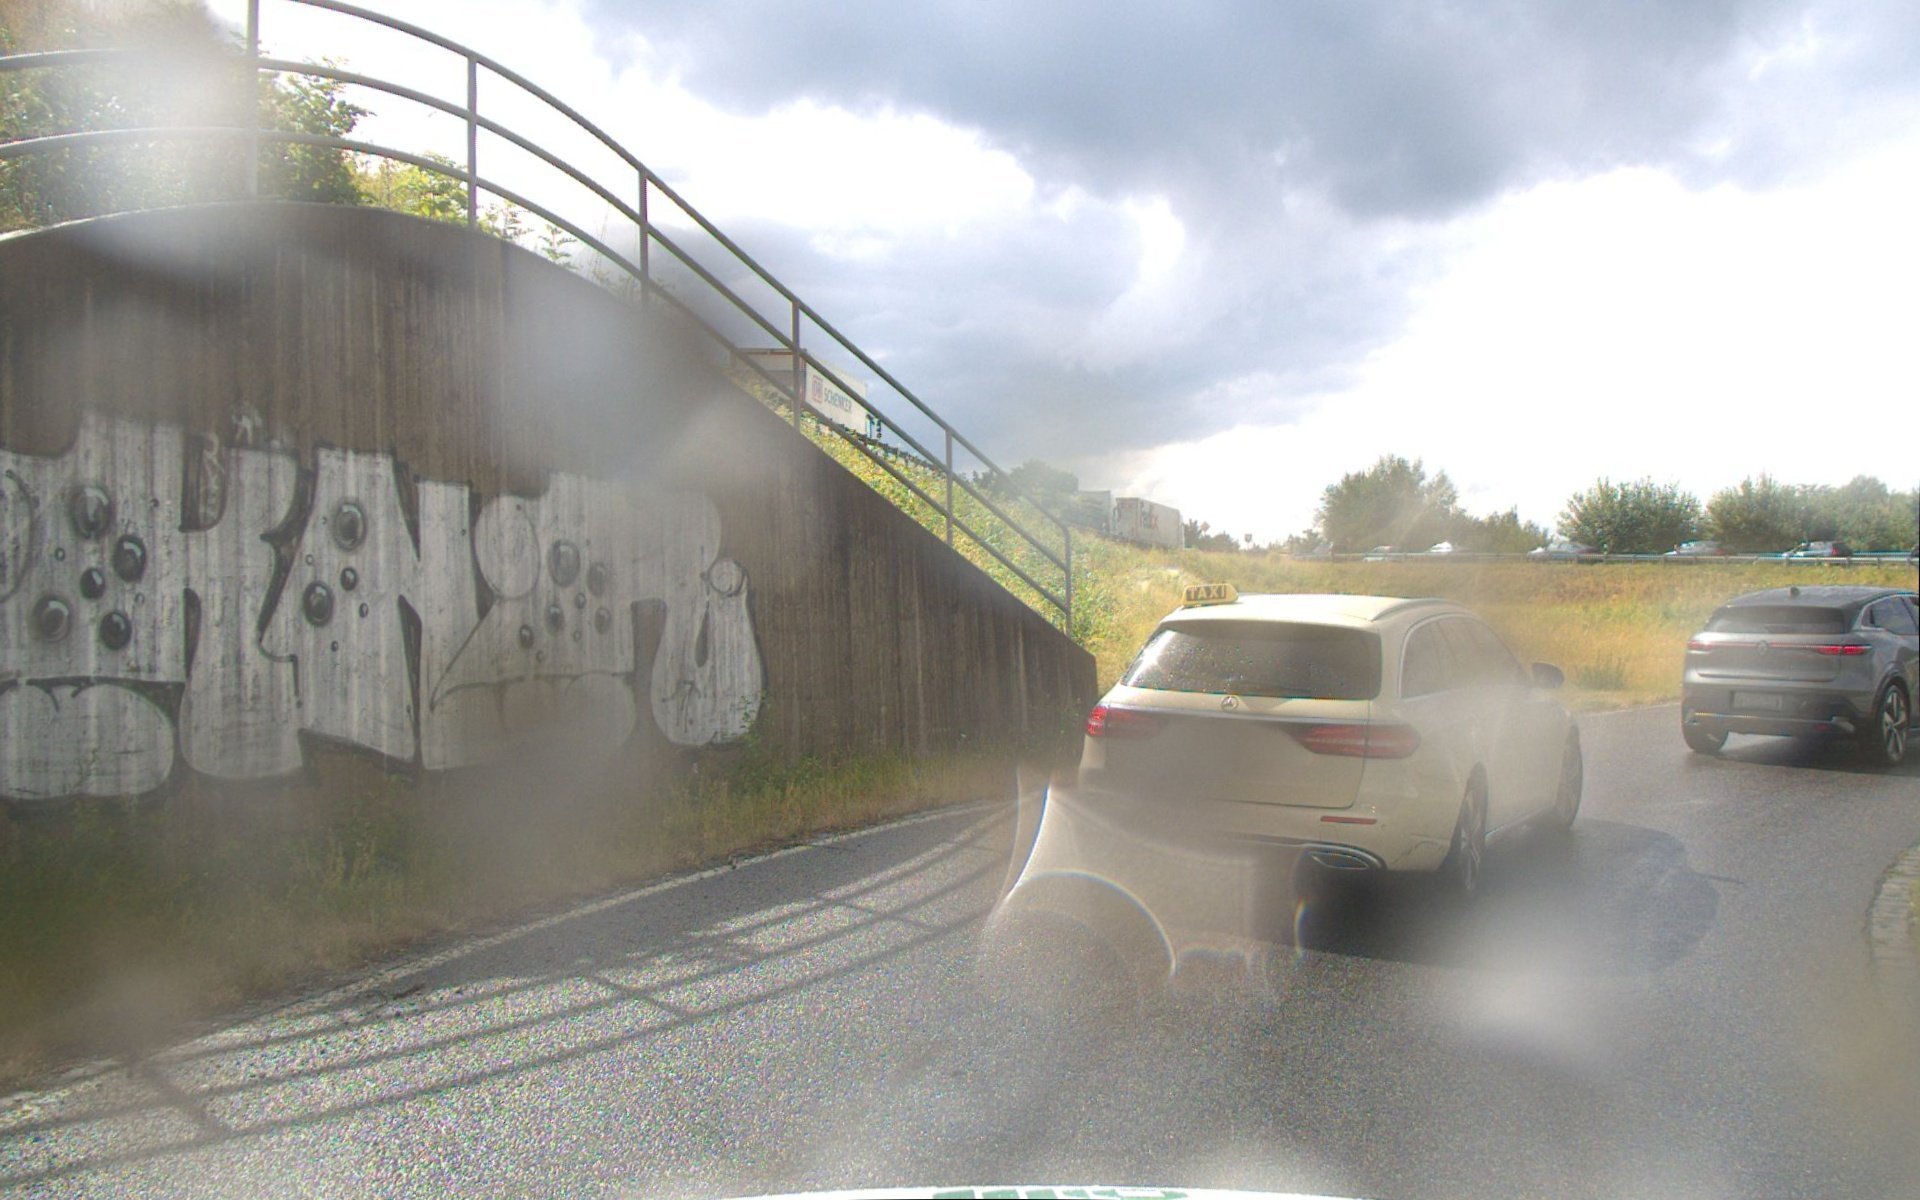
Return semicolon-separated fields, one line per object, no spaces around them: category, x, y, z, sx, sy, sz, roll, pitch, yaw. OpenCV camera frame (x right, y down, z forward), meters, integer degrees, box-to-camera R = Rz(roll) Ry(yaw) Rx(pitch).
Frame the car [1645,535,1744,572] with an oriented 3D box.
car;42.767;-2.697;96.445;1.975;1.894;4.999;0;-1;-33

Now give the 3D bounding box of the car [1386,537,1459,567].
car;32.643;-3.375;116.933;1.973;1.894;5.004;0;-1;-31

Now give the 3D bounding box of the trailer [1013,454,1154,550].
trailer;8.025;-5.784;102.379;4.320;4.025;20.226;0;-2;17

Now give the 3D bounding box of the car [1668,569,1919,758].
car;8.369;0.543;15.517;3.966;1.551;1.697;1;-1;-42

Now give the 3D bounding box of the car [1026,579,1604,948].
car;2.270;0.671;9.346;1.880;1.534;4.587;-1;0;30

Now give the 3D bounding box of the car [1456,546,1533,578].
car;35.321;-2.515;109.421;4.432;1.894;1.987;-2;-1;43

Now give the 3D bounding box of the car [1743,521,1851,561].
car;45.526;-3.172;90.104;1.972;1.894;5.008;0;-1;-29

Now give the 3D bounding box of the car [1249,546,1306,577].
car;22.377;-2.717;116.603;3.902;2.049;1.828;0;-2;12

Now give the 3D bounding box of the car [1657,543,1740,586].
car;42.794;-2.044;95.931;1.970;2.049;3.964;1;-5;-27

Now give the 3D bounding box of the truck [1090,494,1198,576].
truck;13.750;-4.520;121.068;4.366;4.582;19.384;0;-2;17

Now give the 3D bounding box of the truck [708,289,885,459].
truck;-5.204;-7.261;54.943;3.112;4.036;9.243;0;-2;12
